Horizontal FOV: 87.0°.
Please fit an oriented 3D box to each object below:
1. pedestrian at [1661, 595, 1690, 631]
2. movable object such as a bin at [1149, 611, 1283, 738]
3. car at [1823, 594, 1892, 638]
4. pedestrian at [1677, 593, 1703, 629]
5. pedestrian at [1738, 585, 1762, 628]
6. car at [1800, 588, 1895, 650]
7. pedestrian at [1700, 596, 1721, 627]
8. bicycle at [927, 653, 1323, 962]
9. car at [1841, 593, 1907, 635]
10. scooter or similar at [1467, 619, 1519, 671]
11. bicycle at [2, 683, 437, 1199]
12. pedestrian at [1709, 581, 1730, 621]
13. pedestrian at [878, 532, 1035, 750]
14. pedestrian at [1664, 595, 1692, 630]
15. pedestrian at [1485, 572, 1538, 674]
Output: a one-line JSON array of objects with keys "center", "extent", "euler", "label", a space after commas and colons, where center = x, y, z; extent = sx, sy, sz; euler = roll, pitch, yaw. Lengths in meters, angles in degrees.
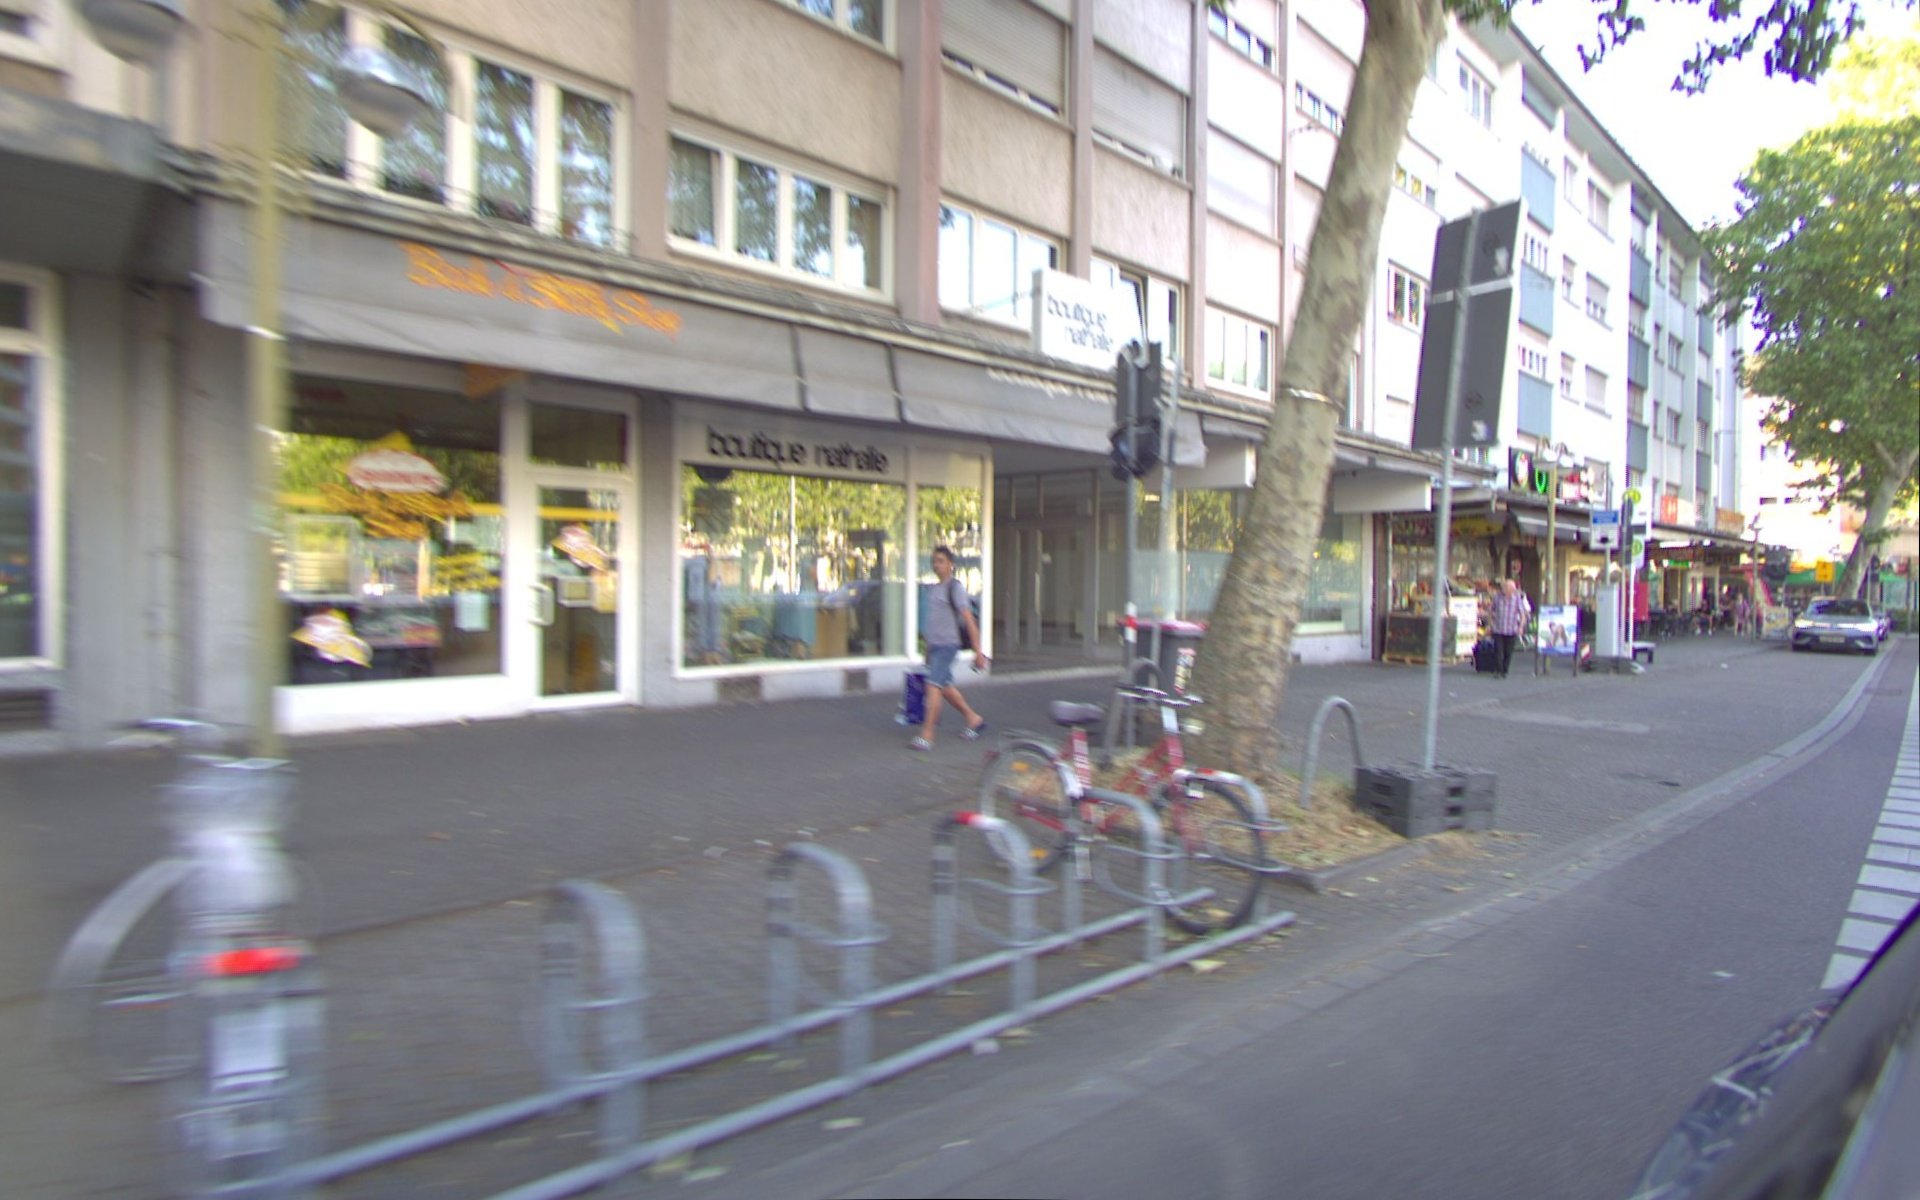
[{"center": [24.793, 0.444, 35.077], "extent": [0.699, 1.243, 0.676], "euler": [0, 1, -44], "label": "pedestrian"}, {"center": [2.479, 0.676, 9.767], "extent": [1.207, 1.088, 0.675], "euler": [0, 3, -44], "label": "movable object such as a bin"}, {"center": [32.610, 0.537, 36.730], "extent": [1.730, 1.461, 3.922], "euler": [2, 2, 43], "label": "car"}, {"center": [26.787, 0.399, 37.131], "extent": [0.596, 1.281, 0.645], "euler": [0, 1, -44], "label": "pedestrian"}, {"center": [29.823, 0.248, 38.198], "extent": [0.631, 1.579, 0.584], "euler": [0, 2, -42], "label": "pedestrian"}, {"center": [25.970, 0.495, 29.552], "extent": [1.918, 1.617, 4.716], "euler": [2, 2, 43], "label": "car"}, {"center": [28.450, 0.425, 38.369], "extent": [0.514, 1.148, 0.504], "euler": [1, 1, 25], "label": "pedestrian"}, {"center": [0.696, 0.848, 4.764], "extent": [1.790, 1.035, 0.634], "euler": [3, 2, 44], "label": "bicycle"}, {"center": [35.842, 0.508, 39.657], "extent": [3.738, 1.498, 1.657], "euler": [0, 2, -44], "label": "car"}, {"center": [9.370, 0.784, 17.812], "extent": [0.567, 0.854, 0.732], "euler": [0, 0, 6], "label": "scooter or similar"}, {"center": [-1.864, 0.840, 2.478], "extent": [0.633, 1.071, 1.716], "euler": [0, 2, -41], "label": "bicycle"}, {"center": [33.256, 0.043, 44.297], "extent": [0.707, 1.731, 0.668], "euler": [0, 0, 41], "label": "pedestrian"}, {"center": [-0.030, 0.299, 8.482], "extent": [0.974, 1.694, 0.844], "euler": [0, 2, -44], "label": "pedestrian"}, {"center": [25.426, 0.426, 35.860], "extent": [0.698, 1.191, 0.676], "euler": [0, 1, -44], "label": "pedestrian"}, {"center": [9.337, 0.377, 17.141], "extent": [0.637, 1.694, 0.554], "euler": [0, 0, 11], "label": "pedestrian"}]
